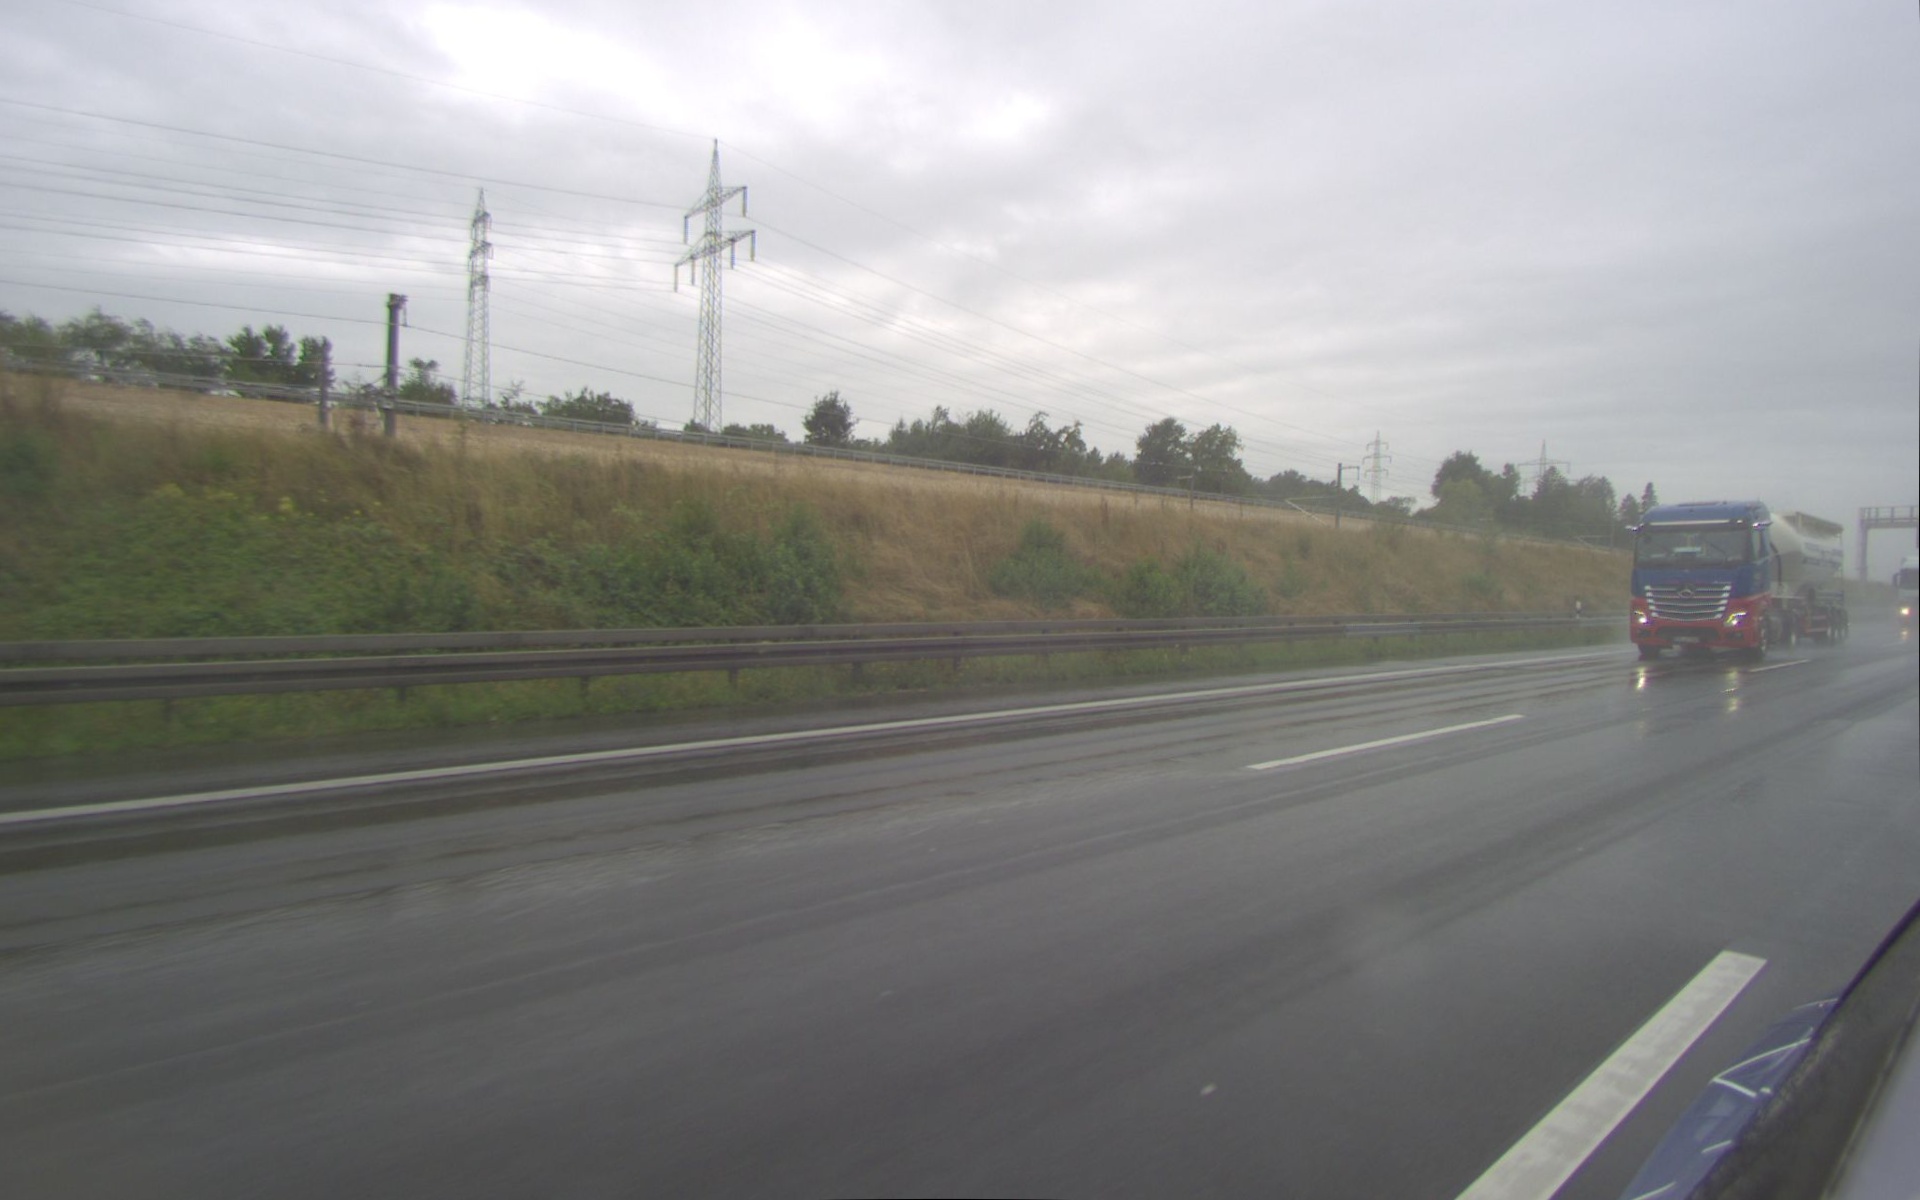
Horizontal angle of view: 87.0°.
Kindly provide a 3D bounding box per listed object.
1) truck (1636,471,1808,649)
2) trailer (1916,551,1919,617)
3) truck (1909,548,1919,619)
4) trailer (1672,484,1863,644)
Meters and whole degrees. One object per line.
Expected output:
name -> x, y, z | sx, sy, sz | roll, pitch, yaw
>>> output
truck -> 19.235, -0.882, 25.467 | 4.987, 4.034, 2.501 | 1, -1, -41
trailer -> 61.919, -0.796, 62.602 | 16.252, 3.813, 2.484 | 1, -1, -41
truck -> 56.233, -0.865, 57.683 | 6.089, 3.939, 2.456 | 1, -1, -40
trailer -> 23.712, -0.832, 29.393 | 10.873, 3.932, 2.501 | 1, -1, -41
